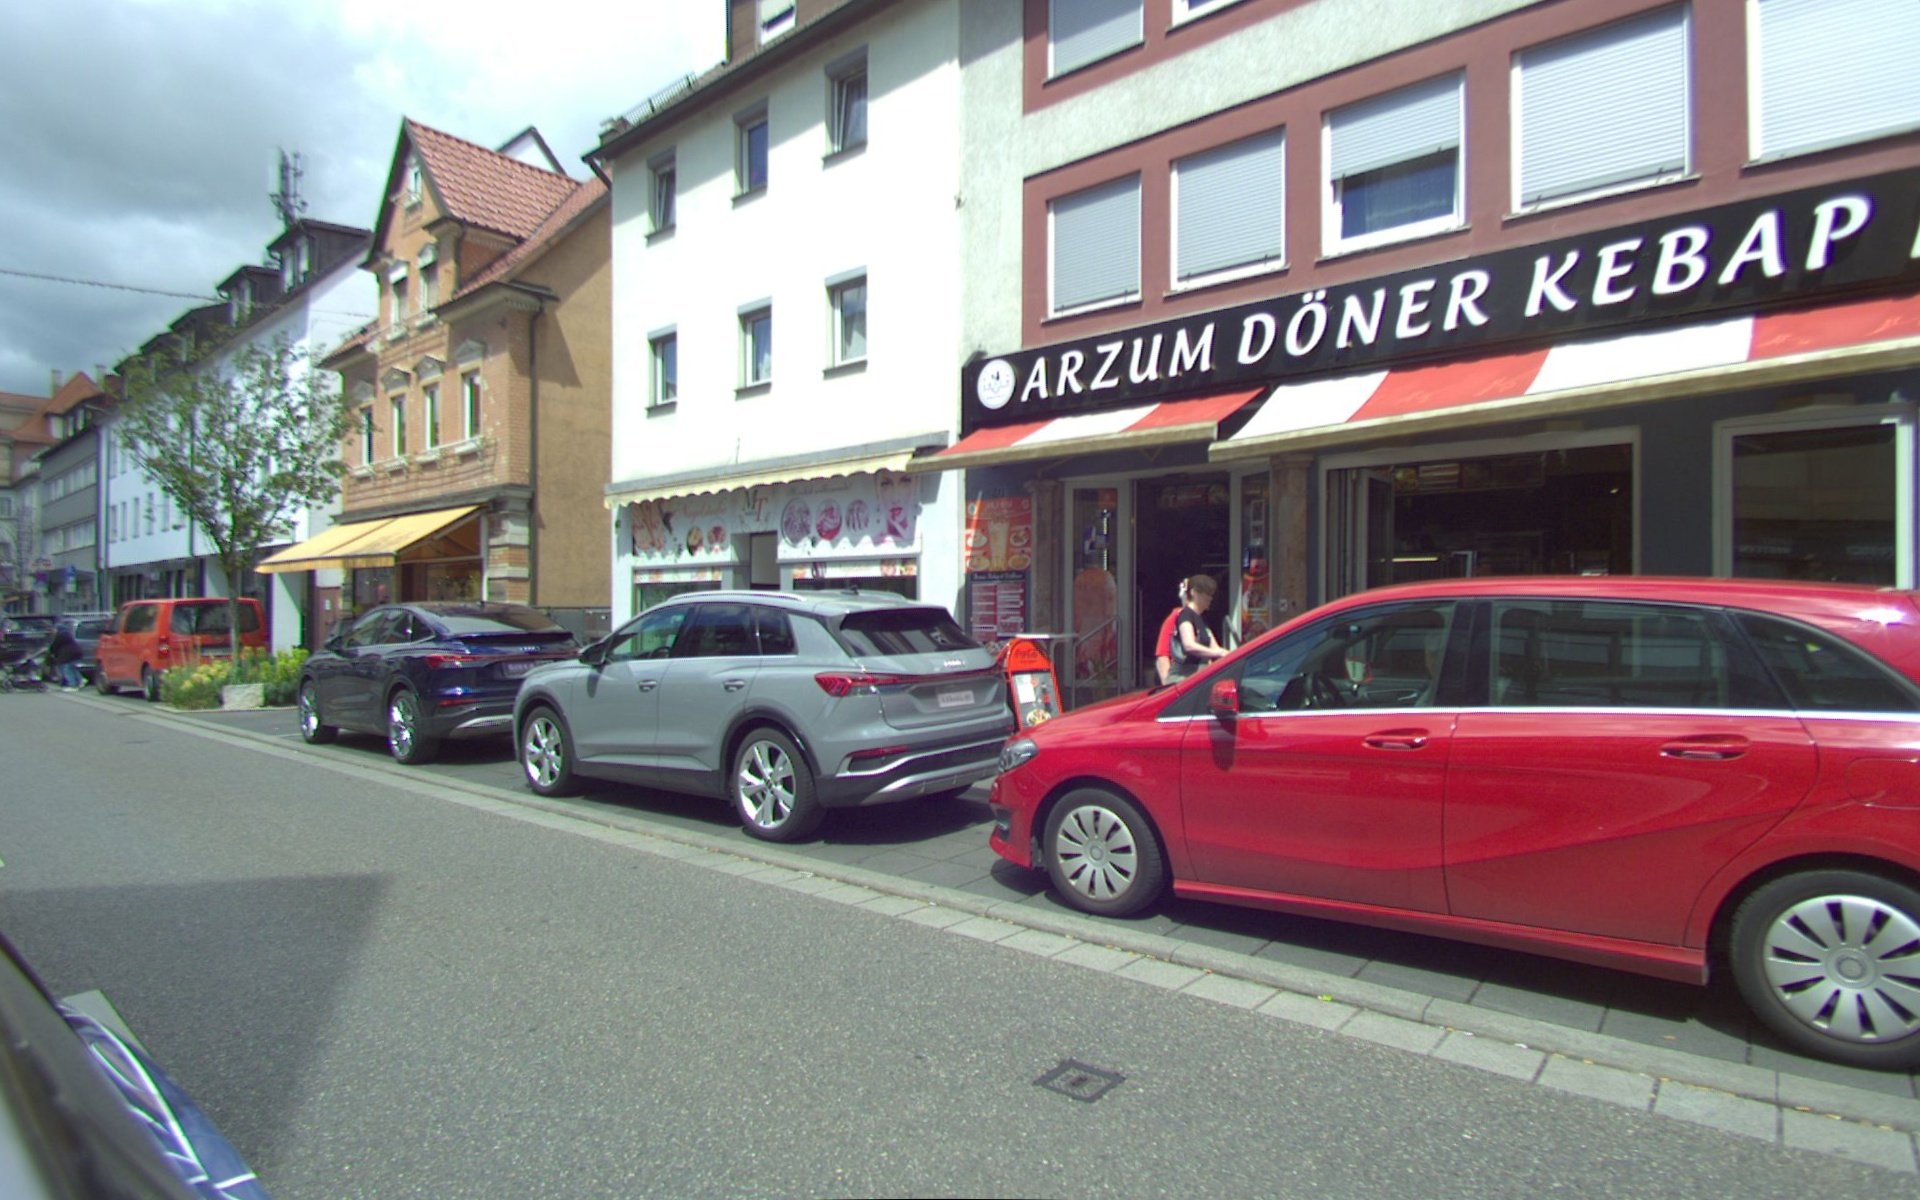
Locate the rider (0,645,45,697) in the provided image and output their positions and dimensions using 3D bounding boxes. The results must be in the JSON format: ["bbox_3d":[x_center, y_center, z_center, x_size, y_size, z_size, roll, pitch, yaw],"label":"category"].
[{"bbox_3d":[-20.170,1.509,21.664,0.707,1.021,0.795,-1,0,43],"label":"rider"}]

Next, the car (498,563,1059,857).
[{"bbox_3d":[-1.560,0.657,7.656,4.346,1.616,1.782,-1,-2,39],"label":"car"}]

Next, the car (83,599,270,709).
[{"bbox_3d":[-15.611,0.970,20.068,4.834,1.903,1.799,-1,0,38],"label":"car"}]

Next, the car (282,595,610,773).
[{"bbox_3d":[-5.873,0.803,11.312,4.386,1.610,1.780,-1,-1,41],"label":"car"}]

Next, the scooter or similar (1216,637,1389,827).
[{"bbox_3d":[2.332,0.854,6.907,0.984,1.159,0.557,-1,0,38],"label":"scooter or similar"}]

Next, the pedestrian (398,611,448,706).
[{"bbox_3d":[-9.588,1.027,18.076,0.661,1.645,0.582,-1,0,41],"label":"pedestrian"}]

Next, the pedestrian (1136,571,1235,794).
[{"bbox_3d":[1.757,0.611,7.891,0.574,1.660,0.496,-1,0,41],"label":"pedestrian"}]

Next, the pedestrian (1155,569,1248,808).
[{"bbox_3d":[1.764,0.615,7.378,0.471,1.660,0.509,-1,0,39],"label":"pedestrian"}]

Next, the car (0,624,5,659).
[{"bbox_3d":[-43.718,1.855,44.703,4.175,1.515,1.772,-1,0,40],"label":"car"}]

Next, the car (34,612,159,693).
[{"bbox_3d":[-21.234,1.198,24.828,4.463,1.768,1.797,0,0,42],"label":"car"}]

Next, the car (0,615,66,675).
[{"bbox_3d":[-30.667,1.420,33.079,4.670,1.768,1.796,0,0,44],"label":"car"}]

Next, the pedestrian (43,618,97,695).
[{"bbox_3d":[-19.226,1.206,21.865,0.779,1.586,0.797,-1,0,43],"label":"pedestrian"}]

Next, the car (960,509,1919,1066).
[{"bbox_3d":[2.205,0.580,4.520,4.212,1.616,1.782,-1,-2,38],"label":"car"}]
